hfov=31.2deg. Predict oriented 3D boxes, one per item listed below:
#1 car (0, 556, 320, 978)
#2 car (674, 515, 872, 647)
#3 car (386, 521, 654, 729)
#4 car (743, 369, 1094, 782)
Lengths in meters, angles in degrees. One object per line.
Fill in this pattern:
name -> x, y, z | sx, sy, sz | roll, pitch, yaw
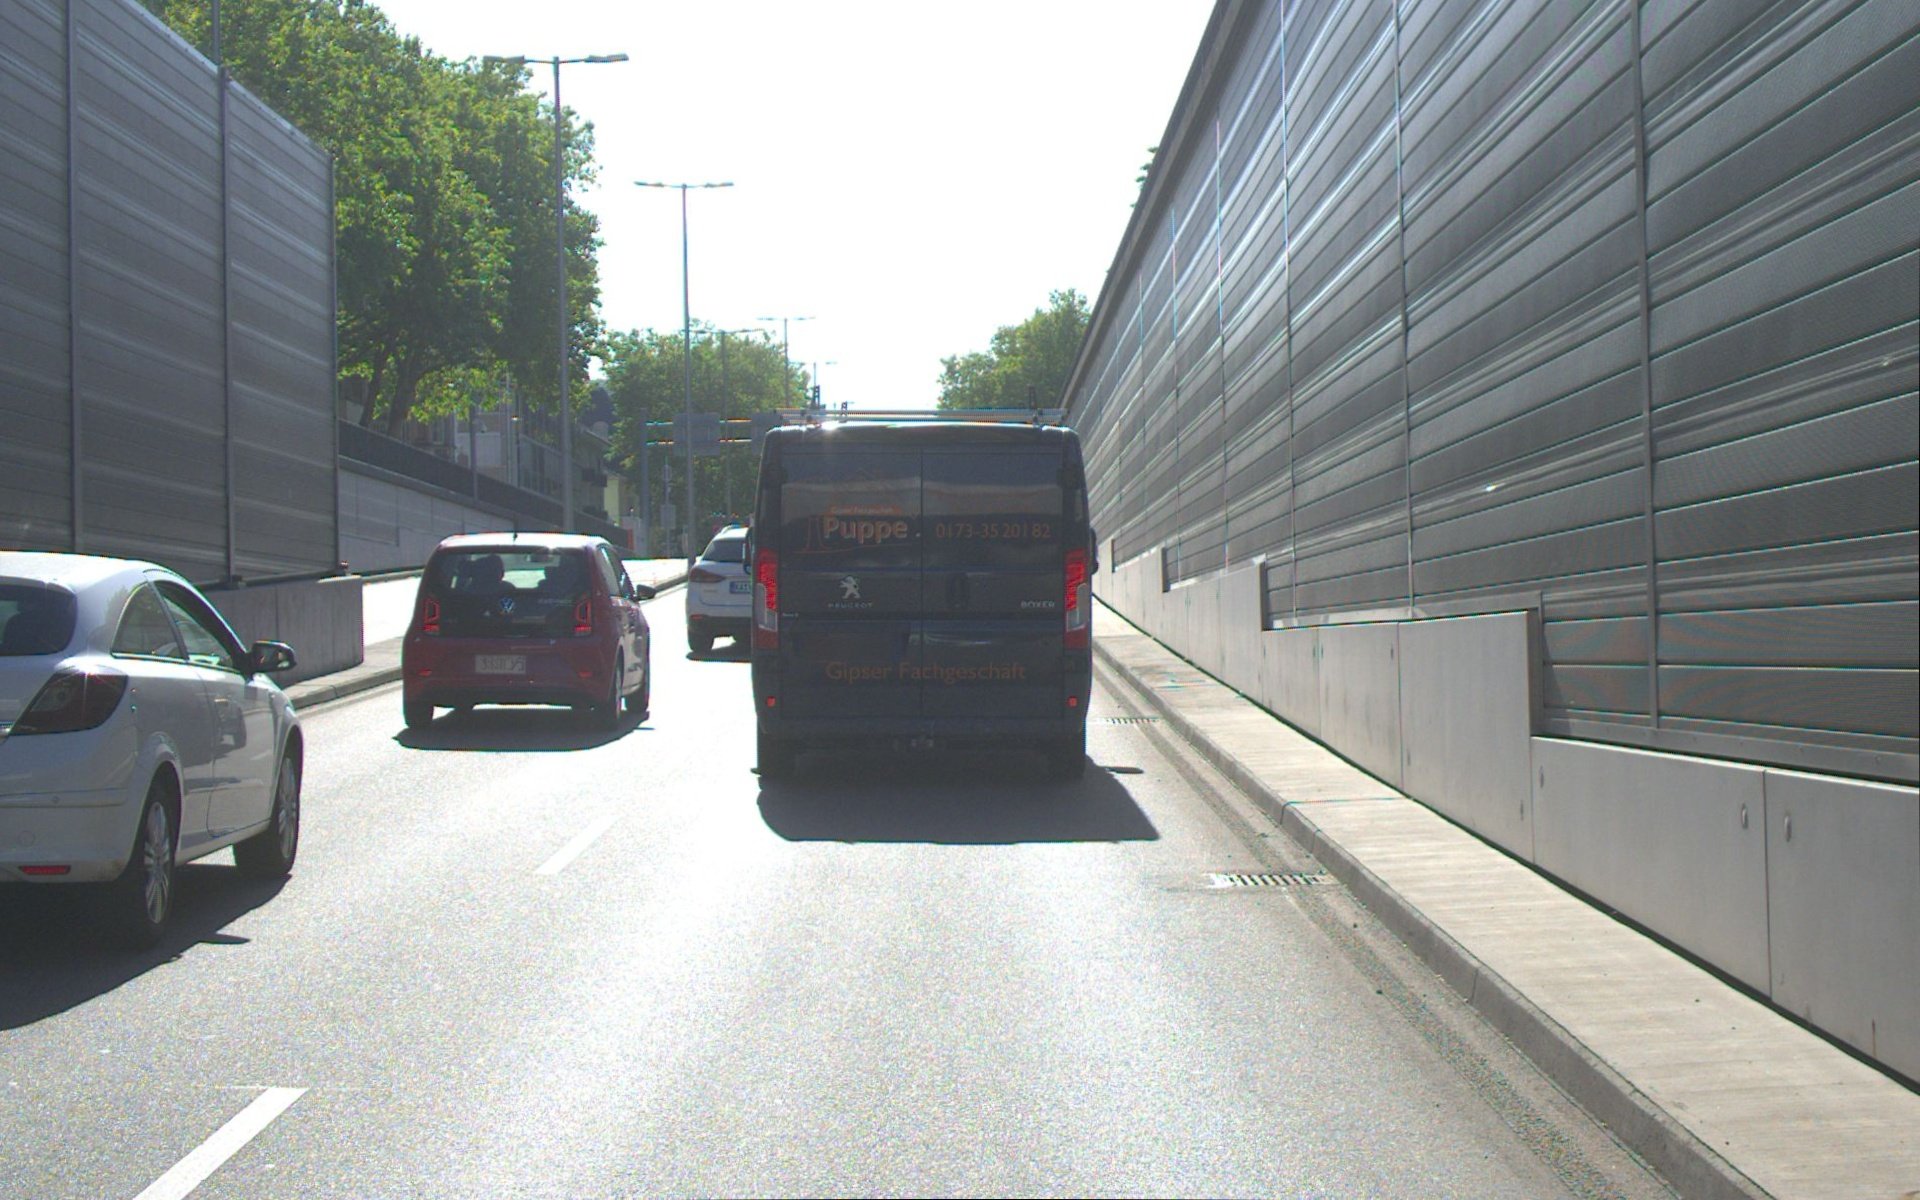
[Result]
car -> -3.682, 0.539, 13.543 | 1.619, 1.398, 3.852 | 0, 1, 0
car -> -2.165, -0.264, 40.811 | 1.892, 1.470, 3.991 | 0, 2, 4
car -> -3.367, 0.148, 26.830 | 1.689, 1.478, 3.319 | 0, 2, 0
car -> -0.241, -0.180, 22.069 | 2.030, 2.394, 3.973 | -1, 1, 0
